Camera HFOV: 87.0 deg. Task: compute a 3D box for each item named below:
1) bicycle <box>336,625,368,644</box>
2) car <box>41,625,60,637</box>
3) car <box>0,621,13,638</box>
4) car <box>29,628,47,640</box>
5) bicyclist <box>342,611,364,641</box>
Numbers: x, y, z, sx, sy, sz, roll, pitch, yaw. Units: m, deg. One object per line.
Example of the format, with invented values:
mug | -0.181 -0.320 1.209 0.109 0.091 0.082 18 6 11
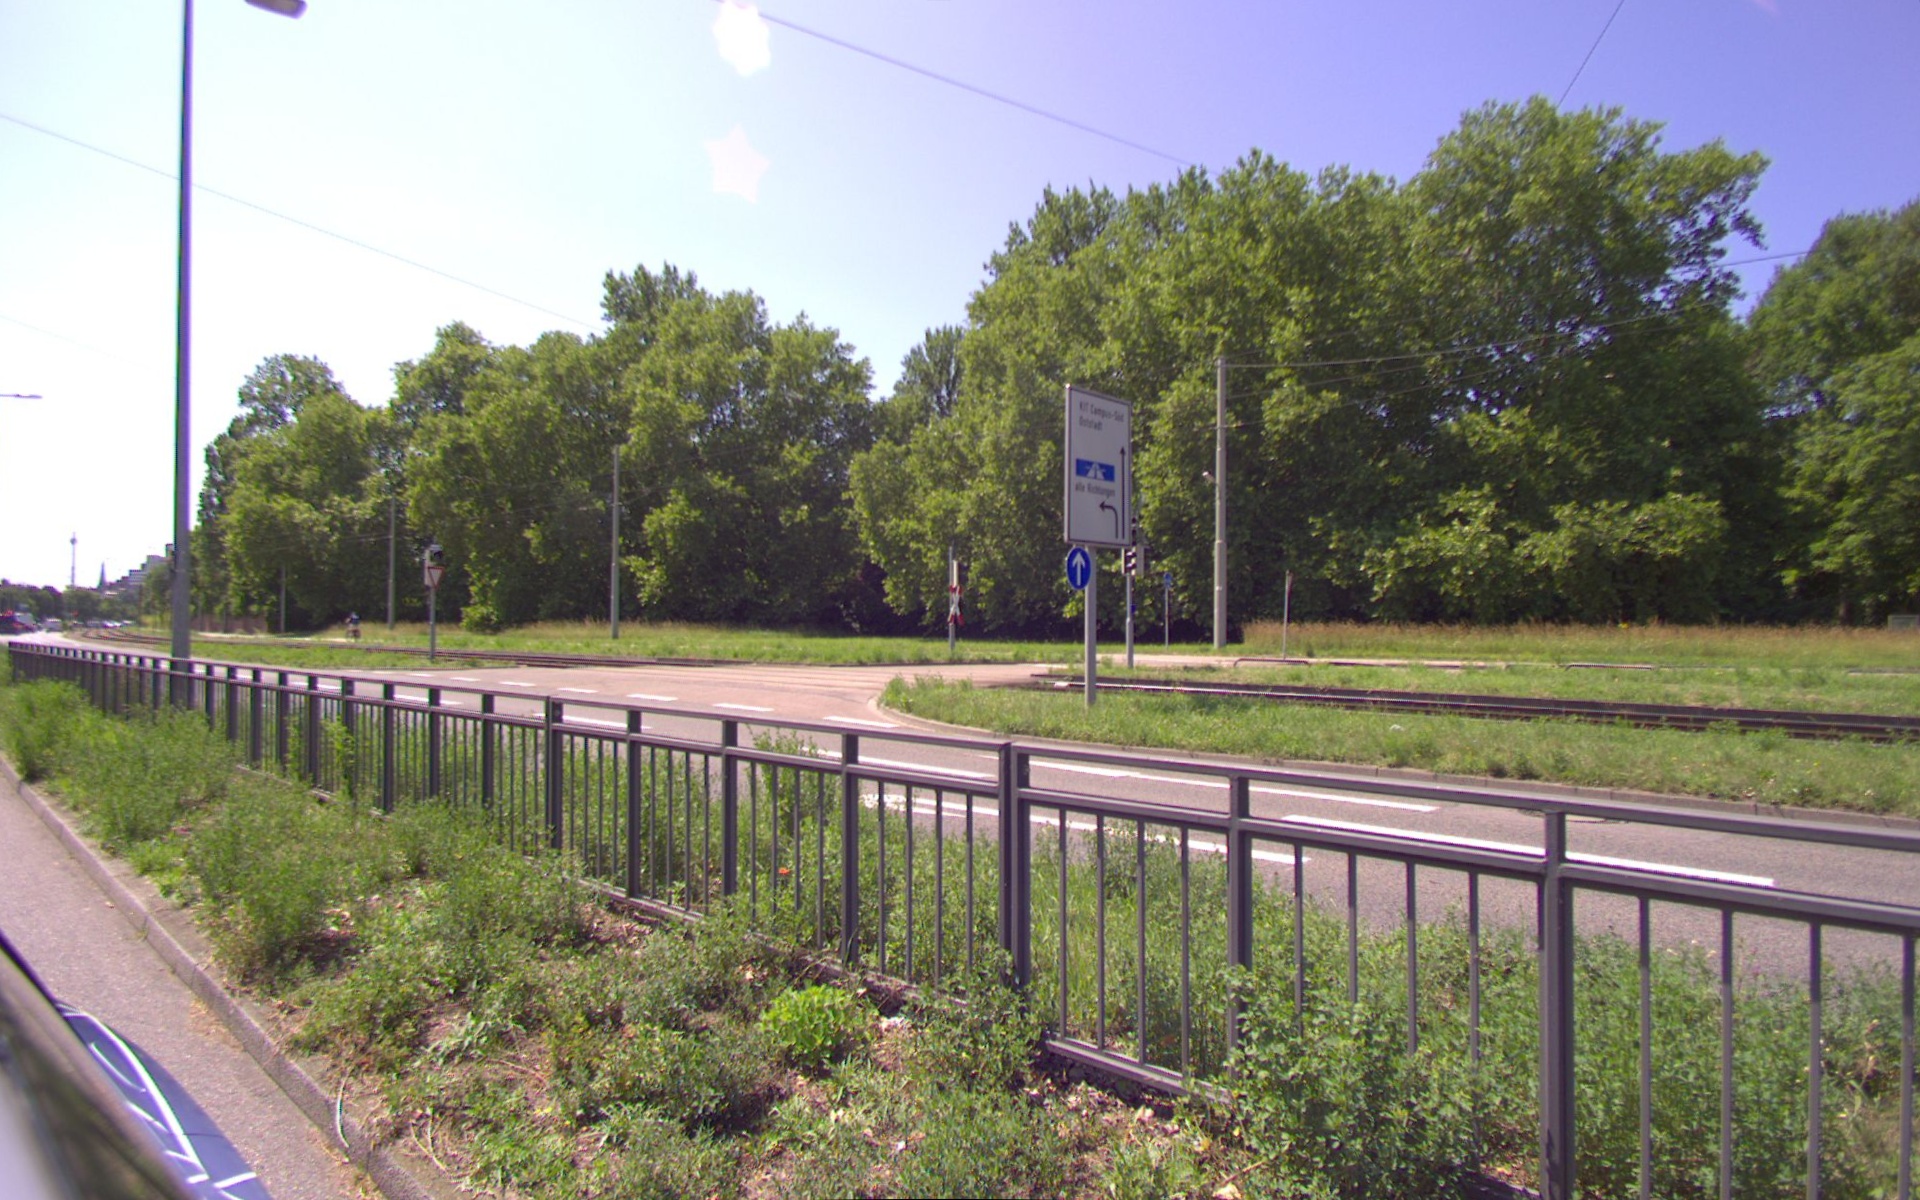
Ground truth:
bicycle | -37.289 2.114 62.067 2.785 1.171 0.851 -1 -2 41
car | -136.446 4.632 151.778 1.970 1.871 4.003 1 -2 -44
car | -107.053 3.306 112.926 1.970 1.871 4.004 1 -2 -43
car | -141.914 5.255 155.754 1.970 1.871 4.003 1 -2 -44
bicyclist | -37.231 1.607 62.063 1.117 1.820 0.851 -1 -2 41
